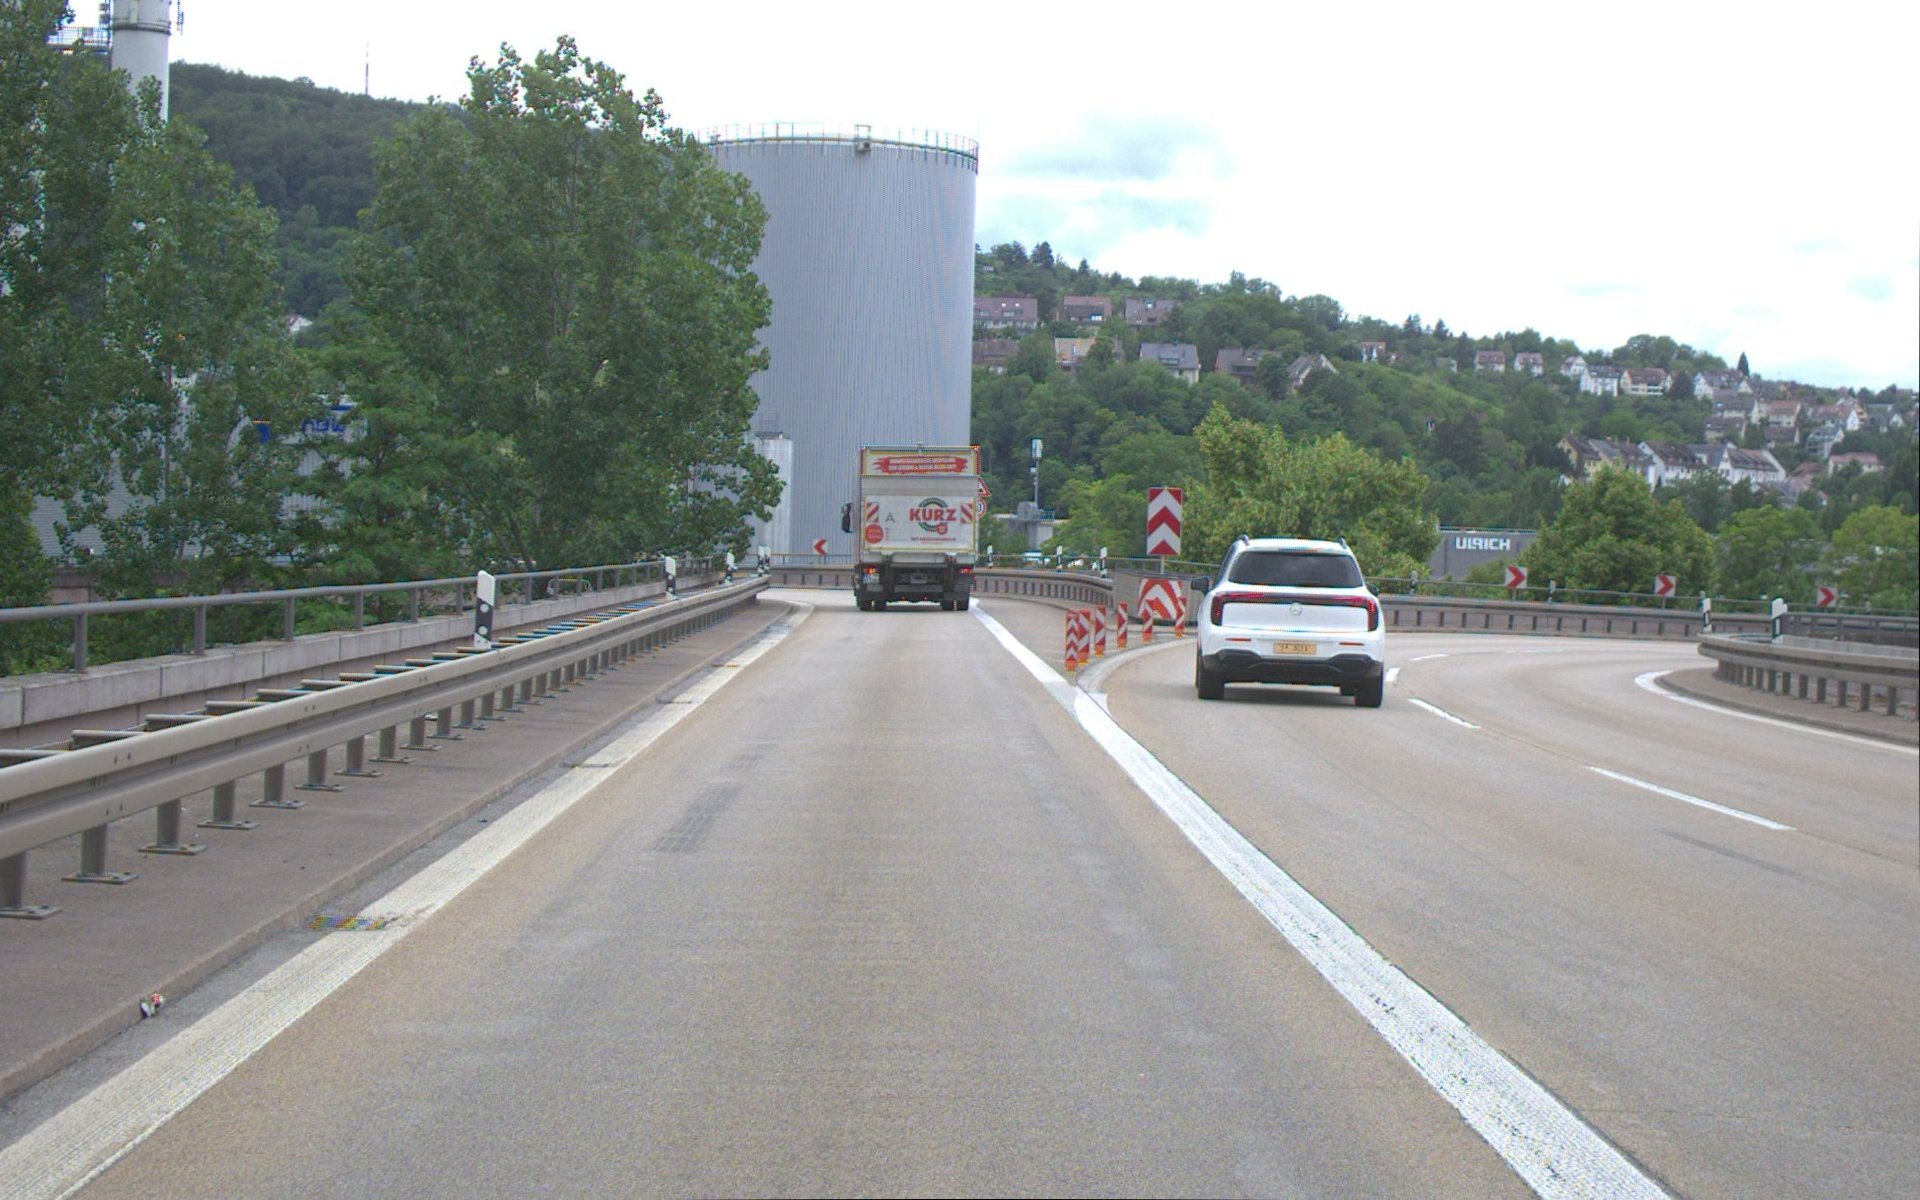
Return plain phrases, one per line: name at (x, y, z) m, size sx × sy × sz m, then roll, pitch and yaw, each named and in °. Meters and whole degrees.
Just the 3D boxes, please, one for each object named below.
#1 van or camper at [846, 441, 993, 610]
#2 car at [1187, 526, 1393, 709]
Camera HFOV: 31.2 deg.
van or camper at (-0.992, -1.638, 77.078) m, size 3.121 × 3.567 × 8.551 m, roll 0°, pitch 1°, yaw -2°
car at (3.386, 0.127, 35.930) m, size 1.924 × 1.779 × 4.113 m, roll 0°, pitch 1°, yaw 2°
